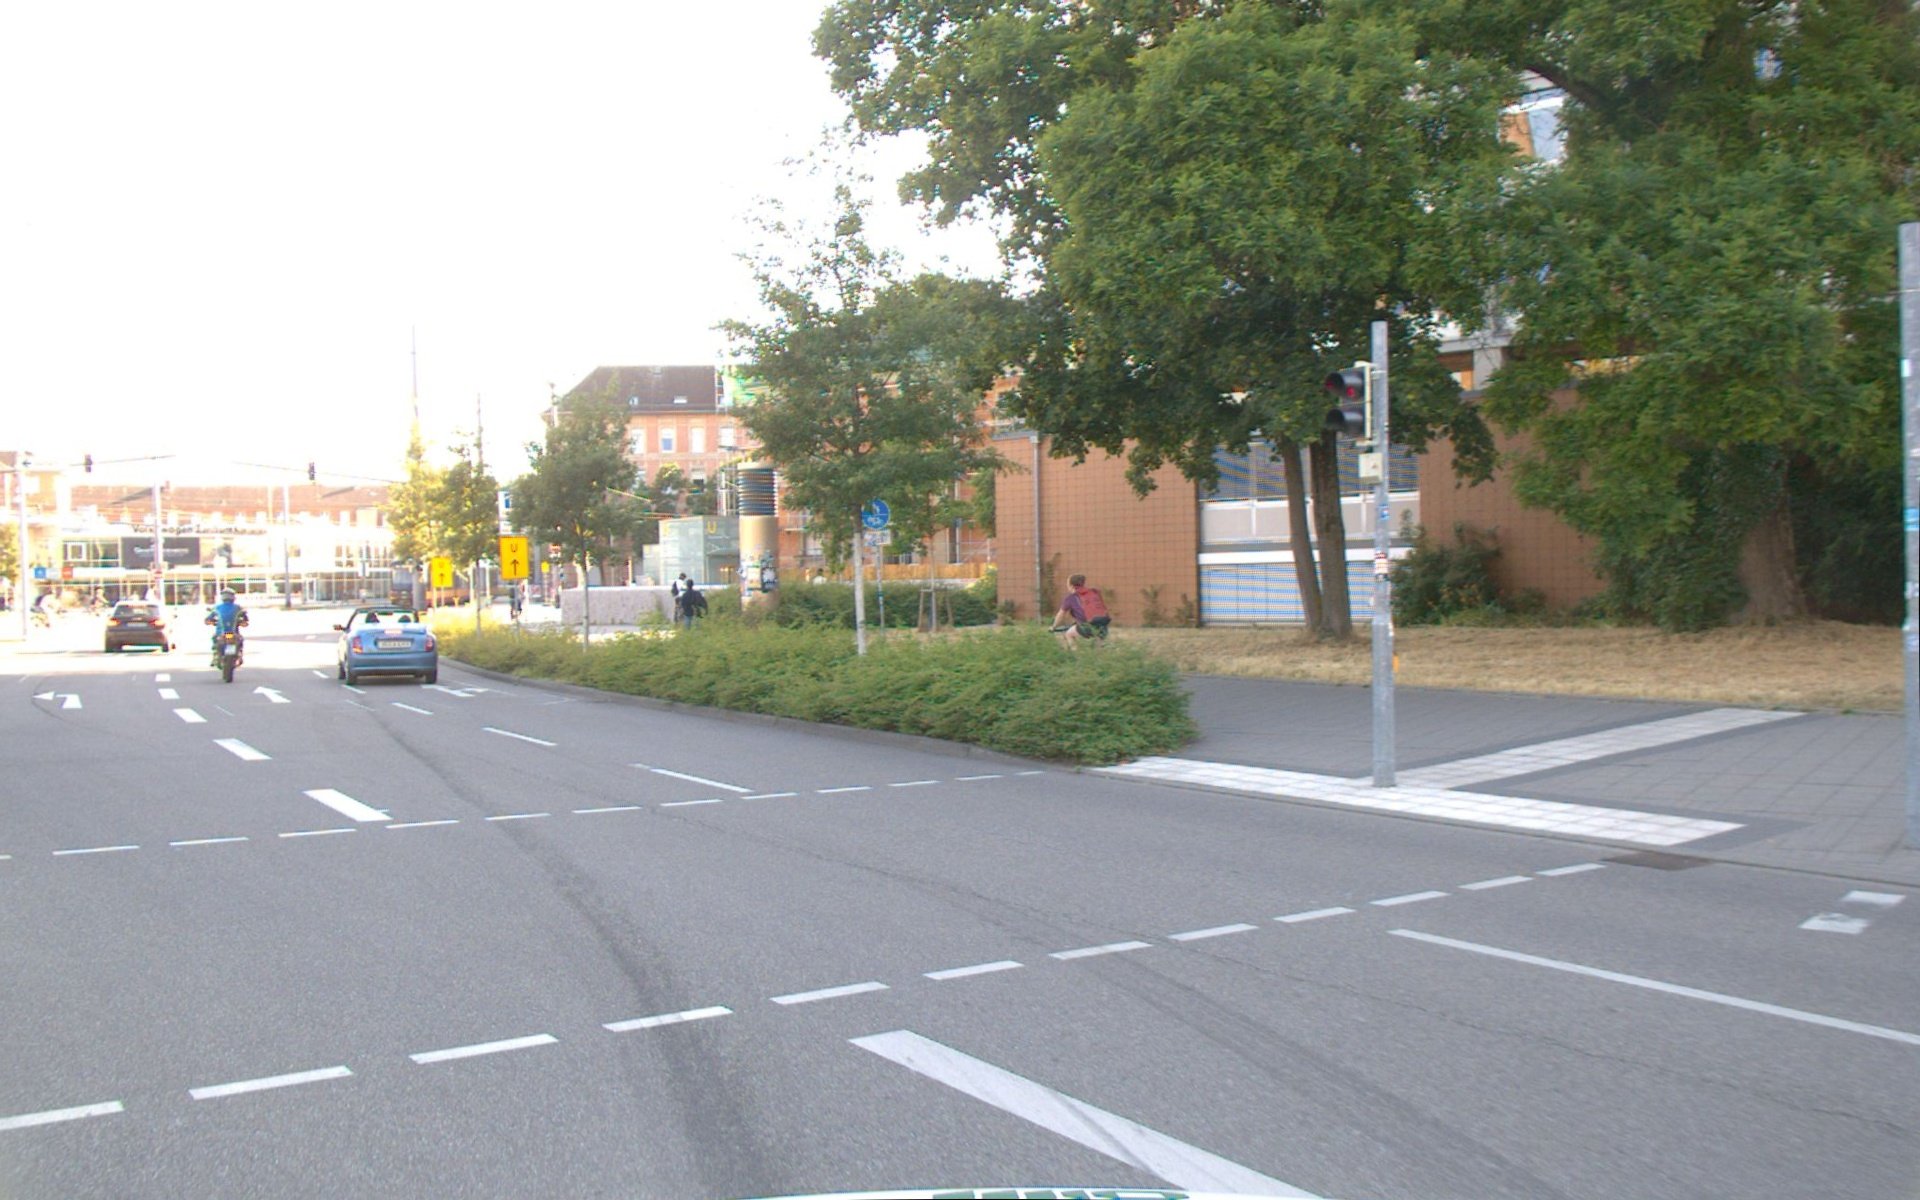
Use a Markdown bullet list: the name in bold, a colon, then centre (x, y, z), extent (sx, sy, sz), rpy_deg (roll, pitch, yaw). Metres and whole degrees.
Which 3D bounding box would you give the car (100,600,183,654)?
- **car**: centre (-23.686, 0.737, 47.952), extent (1.775, 1.469, 3.953), rpy_deg (0, 0, -21)

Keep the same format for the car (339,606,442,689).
- **car**: centre (-11.021, 0.861, 32.058), extent (1.774, 1.469, 3.956), rpy_deg (0, 0, -19)

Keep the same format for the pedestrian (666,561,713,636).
- **pedestrian**: centre (-6.317, -0.052, 38.607), extent (0.797, 1.687, 0.783), rpy_deg (-4, 2, -28)

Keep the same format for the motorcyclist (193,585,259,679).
- **motorcyclist**: centre (-14.044, 0.608, 31.684), extent (1.080, 1.751, 0.931), rpy_deg (-1, 0, -20)

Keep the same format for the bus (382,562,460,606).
- **bus**: centre (-39.451, -1.216, 121.322), extent (2.305, 2.933, 9.582), rpy_deg (0, 2, 2)

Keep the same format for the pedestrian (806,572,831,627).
- **pedestrian**: centre (-4.407, -0.026, 51.573), extent (0.709, 1.688, 0.718), rpy_deg (1, 0, -2)

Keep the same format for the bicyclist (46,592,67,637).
- **bicyclist**: centre (-36.086, 0.574, 66.059), extent (0.644, 1.720, 0.849), rpy_deg (-1, 2, -36)

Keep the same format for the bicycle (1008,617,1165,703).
- **bicycle**: centre (1.487, 0.709, 19.900), extent (0.713, 0.969, 2.224), rpy_deg (0, -1, -32)

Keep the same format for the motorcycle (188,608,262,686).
- **motorcycle**: centre (-14.072, 0.863, 31.741), extent (1.080, 1.401, 2.637), rpy_deg (-1, 0, -20)

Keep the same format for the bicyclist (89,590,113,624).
- **bicyclist**: centre (-50.899, 0.391, 97.969), extent (1.063, 1.933, 1.107), rpy_deg (-1, 2, -40)

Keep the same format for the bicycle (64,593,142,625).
- **bicycle**: centre (-50.781, 0.525, 98.076), extent (3.963, 1.719, 1.123), rpy_deg (-2, 3, -40)

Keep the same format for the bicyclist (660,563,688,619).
- **bicyclist**: centre (-9.628, -0.296, 55.634), extent (0.773, 1.817, 0.891), rpy_deg (-3, 0, -13)

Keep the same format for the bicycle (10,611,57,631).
- **bicycle**: centre (-52.221, 1.195, 93.196), extent (2.273, 0.976, 0.851), rpy_deg (-3, 4, -31)

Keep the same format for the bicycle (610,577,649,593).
- **bicycle**: centre (-22.609, -0.996, 113.139), extent (2.420, 1.021, 0.950), rpy_deg (-2, 1, -37)

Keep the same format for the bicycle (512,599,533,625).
- **bicycle**: centre (-19.210, 0.525, 72.691), extent (0.776, 1.057, 1.956), rpy_deg (-3, 1, -13)

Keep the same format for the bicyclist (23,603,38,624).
- **bicyclist**: centre (-52.335, 0.746, 93.101), extent (0.705, 1.162, 0.828), rpy_deg (-1, 2, -32)

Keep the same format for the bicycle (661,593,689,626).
- **bicycle**: centre (-9.626, 0.310, 55.794), extent (0.776, 1.057, 1.956), rpy_deg (-3, 1, -13)

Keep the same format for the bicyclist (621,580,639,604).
- **bicyclist**: centre (-22.575, -0.546, 113.125), extent (0.917, 1.586, 0.950), rpy_deg (-2, 1, -37)

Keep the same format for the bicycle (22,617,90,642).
- **bicycle**: centre (-36.097, 1.173, 66.061), extent (2.279, 0.921, 0.849), rpy_deg (-2, 2, -37)

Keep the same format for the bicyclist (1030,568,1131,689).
- **bicyclist**: centre (1.443, 0.337, 19.967), extent (0.713, 1.409, 1.064), rpy_deg (0, -1, -32)

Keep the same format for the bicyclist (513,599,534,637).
- **bicyclist**: centre (-19.155, 0.781, 72.549), extent (0.776, 1.621, 0.944), rpy_deg (-3, 0, -13)
